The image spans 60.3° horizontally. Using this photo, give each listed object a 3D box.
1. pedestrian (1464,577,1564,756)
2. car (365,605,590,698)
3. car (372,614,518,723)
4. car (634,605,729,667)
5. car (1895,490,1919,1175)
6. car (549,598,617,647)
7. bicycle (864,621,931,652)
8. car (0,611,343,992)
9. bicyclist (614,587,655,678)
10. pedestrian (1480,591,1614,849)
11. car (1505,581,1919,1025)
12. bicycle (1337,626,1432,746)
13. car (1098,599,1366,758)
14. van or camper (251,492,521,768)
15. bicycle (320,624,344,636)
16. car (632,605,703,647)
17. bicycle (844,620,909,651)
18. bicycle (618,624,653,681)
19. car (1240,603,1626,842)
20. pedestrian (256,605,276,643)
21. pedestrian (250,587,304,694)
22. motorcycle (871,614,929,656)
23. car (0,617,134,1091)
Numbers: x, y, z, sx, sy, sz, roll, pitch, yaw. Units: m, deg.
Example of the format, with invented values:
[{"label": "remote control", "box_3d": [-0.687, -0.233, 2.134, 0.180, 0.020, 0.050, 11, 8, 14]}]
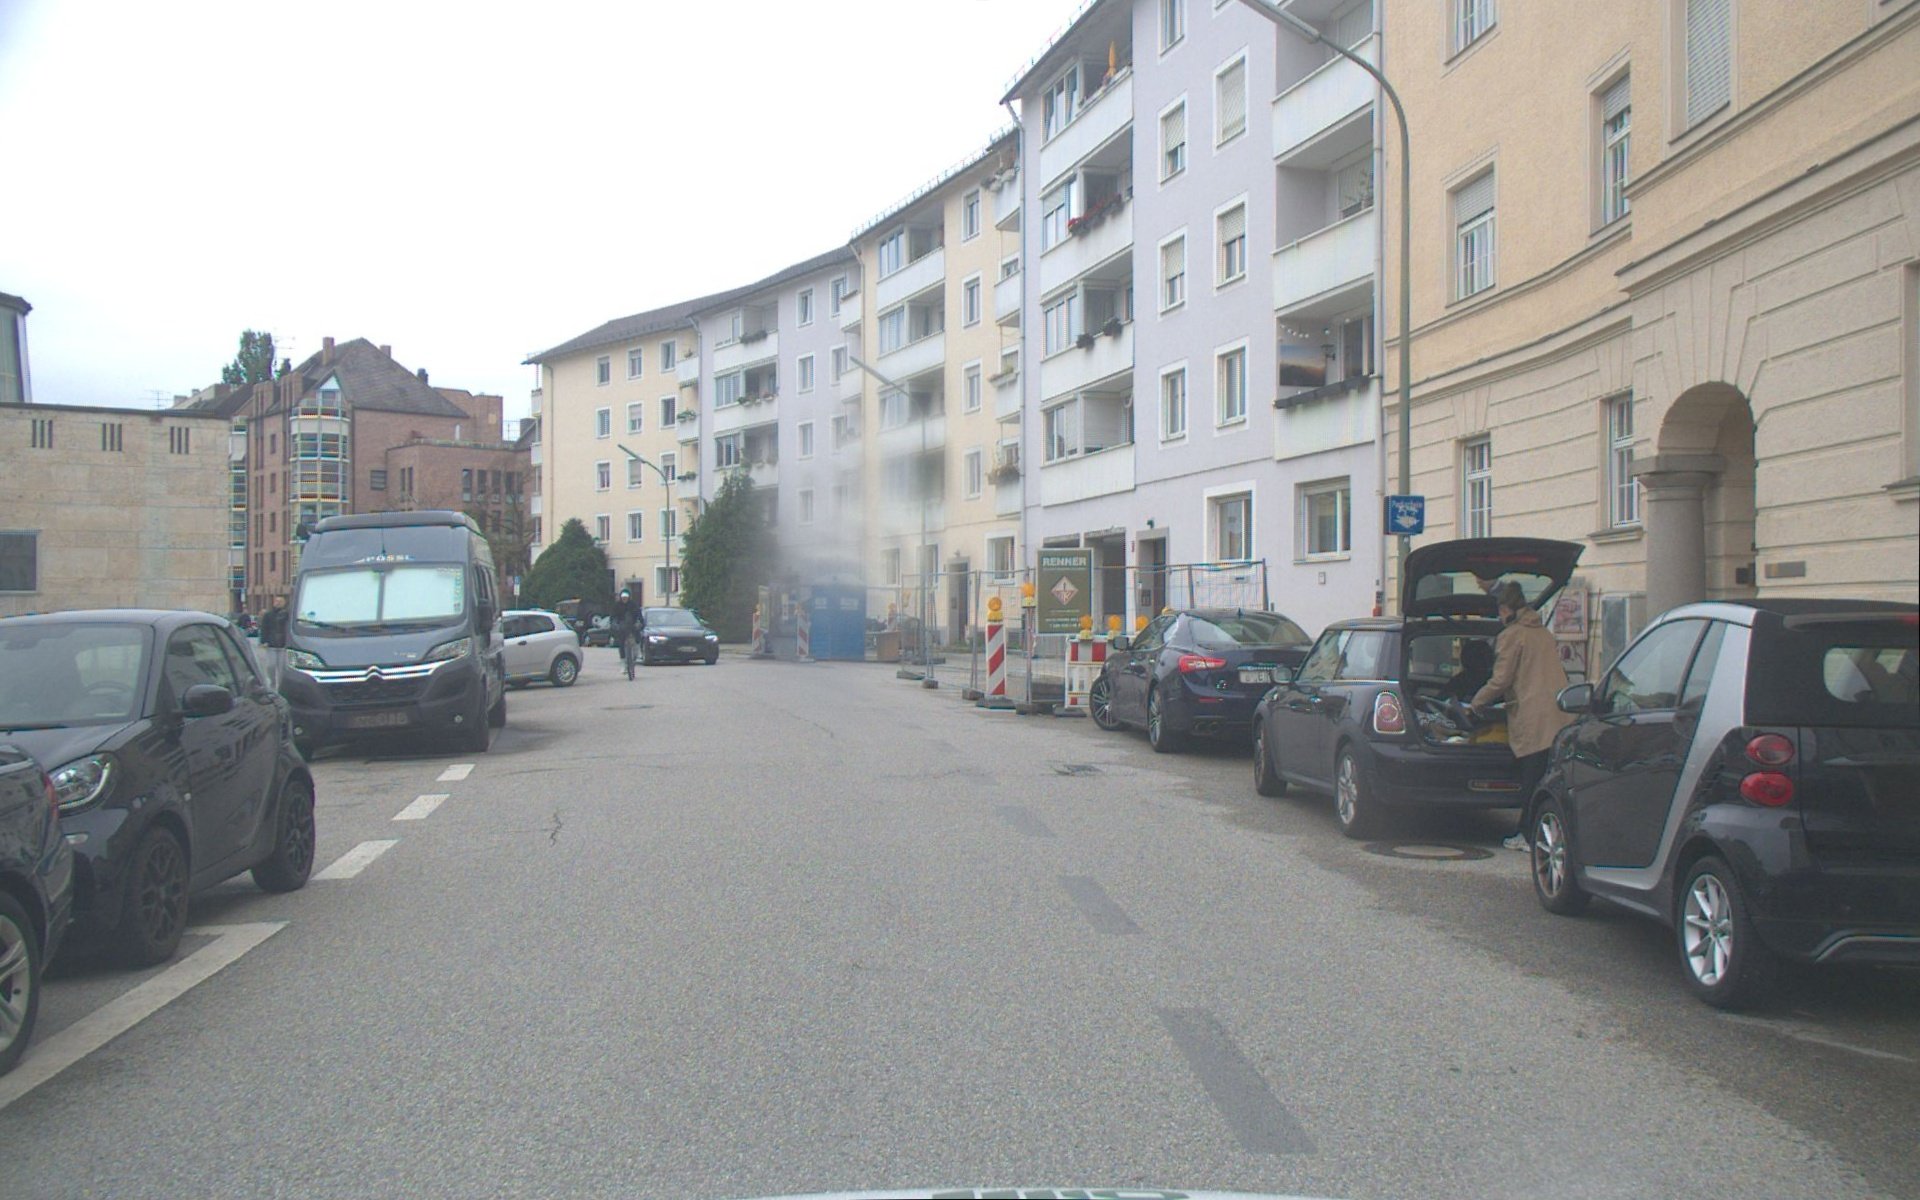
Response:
[{"label": "pedestrian", "box_3d": [5.571, 0.652, 16.676, 0.604, 1.720, 0.919, -3, -1, 0]}, {"label": "car", "box_3d": [-9.078, 0.939, 31.320, 1.682, 1.534, 3.790, -2, 0, 40]}, {"label": "car", "box_3d": [-8.127, 1.007, 25.946, 1.964, 1.476, 4.191, -2, 0, -19]}, {"label": "car", "box_3d": [-7.259, 0.911, 42.794, 1.889, 1.436, 4.683, -2, 0, -16]}, {"label": "car", "box_3d": [3.537, 0.620, 1.876, 2.125, 1.769, 5.024, 1, 0, 0]}, {"label": "car", "box_3d": [-16.462, 0.967, 72.152, 1.764, 2.011, 3.679, -2, 0, -32]}, {"label": "bicycle", "box_3d": [-2.221, 1.279, 58.686, 2.203, 1.088, 0.912, 0, -1, -24]}, {"label": "car", "box_3d": [-4.225, 0.840, 8.068, 1.489, 1.491, 2.884, -2, 0, -5]}, {"label": "bicyclist", "box_3d": [-6.666, 0.647, 33.859, 0.732, 1.802, 0.812, -3, 1, -14]}, {"label": "pedestrian", "box_3d": [3.642, 0.725, 10.296, 0.615, 1.555, 0.578, 1, 0, -1]}, {"label": "car", "box_3d": [3.667, 0.733, 7.435, 1.482, 1.582, 3.019, 1, 0, 1]}, {"label": "bicycle", "box_3d": [4.782, 0.947, 18.724, 0.623, 1.280, 1.670, 0, -1, -1]}, {"label": "car", "box_3d": [2.844, 0.760, 18.469, 1.870, 1.503, 4.942, 1, 0, -4]}, {"label": "van or camper", "box_3d": [-6.333, 0.278, 18.993, 2.257, 2.626, 6.065, 1, 0, -13]}, {"label": "bicycle", "box_3d": [-44.547, 2.126, 117.356, 1.095, 0.869, 1.701, 1, -1, -42]}, {"label": "car", "box_3d": [-11.448, 0.991, 64.557, 1.807, 1.601, 3.970, 1, -1, -24]}, {"label": "bicycle", "box_3d": [-3.029, 1.274, 59.984, 2.203, 1.088, 0.912, 0, -1, -24]}, {"label": "bicycle", "box_3d": [-6.649, 1.062, 33.879, 0.576, 1.088, 1.930, -2, 0, -14]}, {"label": "car", "box_3d": [3.233, 0.764, 12.039, 1.598, 1.442, 3.677, 1, 0, -3]}, {"label": "pedestrian", "box_3d": [-30.600, 1.043, 72.932, 0.750, 1.658, 0.916, 1, 0, -19]}, {"label": "pedestrian", "box_3d": [-12.376, 0.720, 29.960, 0.833, 1.899, 0.707, 1, -1, -28]}, {"label": "motorcycle", "box_3d": [-1.852, 1.062, 50.668, 0.919, 1.242, 2.488, 1, -1, -24]}, {"label": "car", "box_3d": [-3.833, 0.846, 3.948, 1.739, 1.491, 4.462, -2, 0, -5]}]
